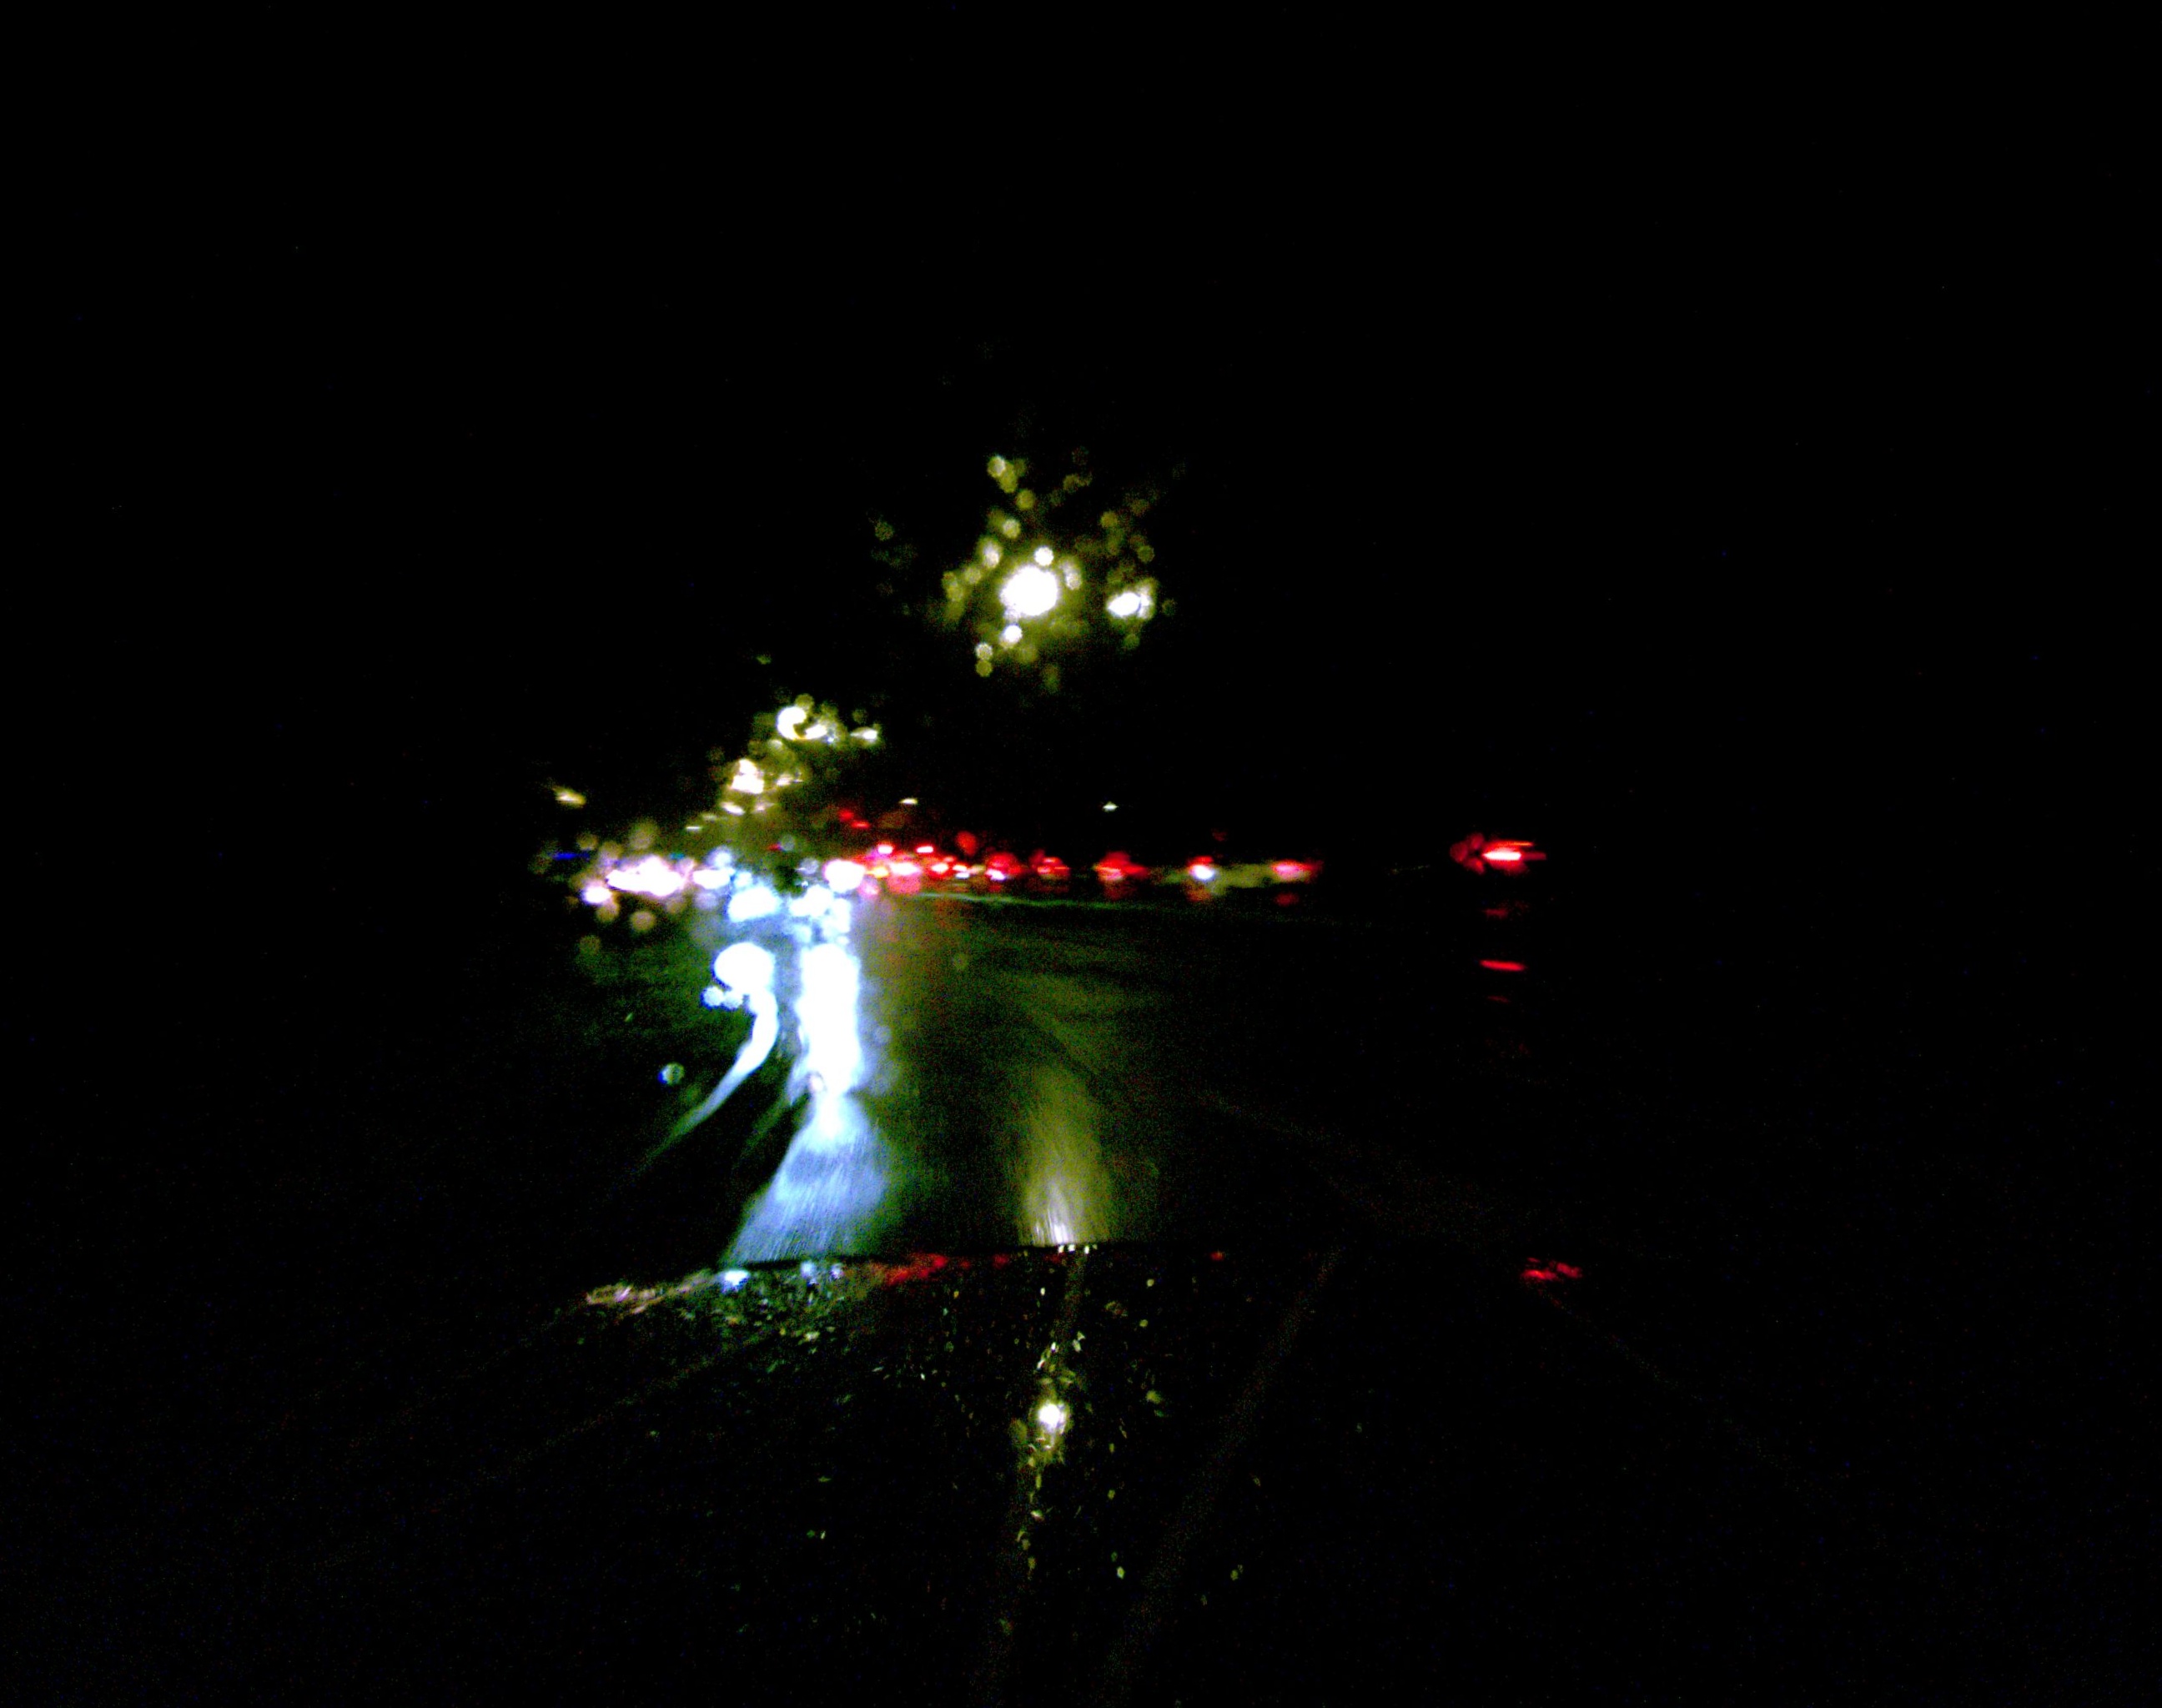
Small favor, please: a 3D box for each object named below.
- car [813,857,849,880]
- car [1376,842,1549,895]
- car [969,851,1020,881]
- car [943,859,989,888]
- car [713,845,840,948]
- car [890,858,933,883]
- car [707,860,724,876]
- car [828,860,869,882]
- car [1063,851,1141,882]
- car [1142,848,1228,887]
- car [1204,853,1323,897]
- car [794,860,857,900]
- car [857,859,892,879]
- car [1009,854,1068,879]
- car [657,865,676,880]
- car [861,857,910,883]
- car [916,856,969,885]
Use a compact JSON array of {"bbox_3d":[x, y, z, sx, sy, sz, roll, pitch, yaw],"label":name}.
[{"bbox_3d":[-19.999,1.142,60.663,1.768,1.715,3.892,-3,1,-32],"label":"car"},{"bbox_3d":[9.696,0.360,19.551,1.651,1.196,3.606,-2,0,-33],"label":"car"},{"bbox_3d":[-5.829,0.733,50.737,1.768,1.838,4.114,-2,2,-32],"label":"car"},{"bbox_3d":[-8.614,1.492,56.613,1.807,1.787,4.243,-2,-4,-32],"label":"car"},{"bbox_3d":[-7.240,0.910,17.788,2.007,1.914,4.360,-7,2,-30],"label":"car"},{"bbox_3d":[-12.391,1.162,55.409,1.807,1.656,3.966,-2,2,-32],"label":"car"},{"bbox_3d":[-49.128,1.853,102.072,1.670,1.843,4.136,-3,2,-29],"label":"car"},{"bbox_3d":[-16.982,1.245,55.374,1.785,1.475,4.402,-3,0,-31],"label":"car"},{"bbox_3d":[1.018,0.615,39.751,1.861,1.530,4.521,1,0,-32],"label":"car"},{"bbox_3d":[4.637,0.603,34.370,1.500,1.593,4.136,-3,1,-32],"label":"car"},{"bbox_3d":[6.983,0.790,29.566,1.892,1.521,4.421,-2,0,-32],"label":"car"},{"bbox_3d":[-12.640,1.272,37.420,1.834,1.640,4.127,-7,2,-32],"label":"car"},{"bbox_3d":[-17.095,1.252,62.863,1.721,1.479,4.047,-2,2,-31],"label":"car"},{"bbox_3d":[-2.561,0.720,45.445,1.768,1.369,4.029,-2,2,-32],"label":"car"},{"bbox_3d":[-53.809,2.389,98.603,1.961,1.624,4.248,-3,2,-29],"label":"car"},{"bbox_3d":[-12.790,1.033,49.480,1.822,1.568,4.295,-1,0,-33],"label":"car"},{"bbox_3d":[-9.045,1.016,49.318,1.807,1.656,4.476,-2,2,-32],"label":"car"}]
